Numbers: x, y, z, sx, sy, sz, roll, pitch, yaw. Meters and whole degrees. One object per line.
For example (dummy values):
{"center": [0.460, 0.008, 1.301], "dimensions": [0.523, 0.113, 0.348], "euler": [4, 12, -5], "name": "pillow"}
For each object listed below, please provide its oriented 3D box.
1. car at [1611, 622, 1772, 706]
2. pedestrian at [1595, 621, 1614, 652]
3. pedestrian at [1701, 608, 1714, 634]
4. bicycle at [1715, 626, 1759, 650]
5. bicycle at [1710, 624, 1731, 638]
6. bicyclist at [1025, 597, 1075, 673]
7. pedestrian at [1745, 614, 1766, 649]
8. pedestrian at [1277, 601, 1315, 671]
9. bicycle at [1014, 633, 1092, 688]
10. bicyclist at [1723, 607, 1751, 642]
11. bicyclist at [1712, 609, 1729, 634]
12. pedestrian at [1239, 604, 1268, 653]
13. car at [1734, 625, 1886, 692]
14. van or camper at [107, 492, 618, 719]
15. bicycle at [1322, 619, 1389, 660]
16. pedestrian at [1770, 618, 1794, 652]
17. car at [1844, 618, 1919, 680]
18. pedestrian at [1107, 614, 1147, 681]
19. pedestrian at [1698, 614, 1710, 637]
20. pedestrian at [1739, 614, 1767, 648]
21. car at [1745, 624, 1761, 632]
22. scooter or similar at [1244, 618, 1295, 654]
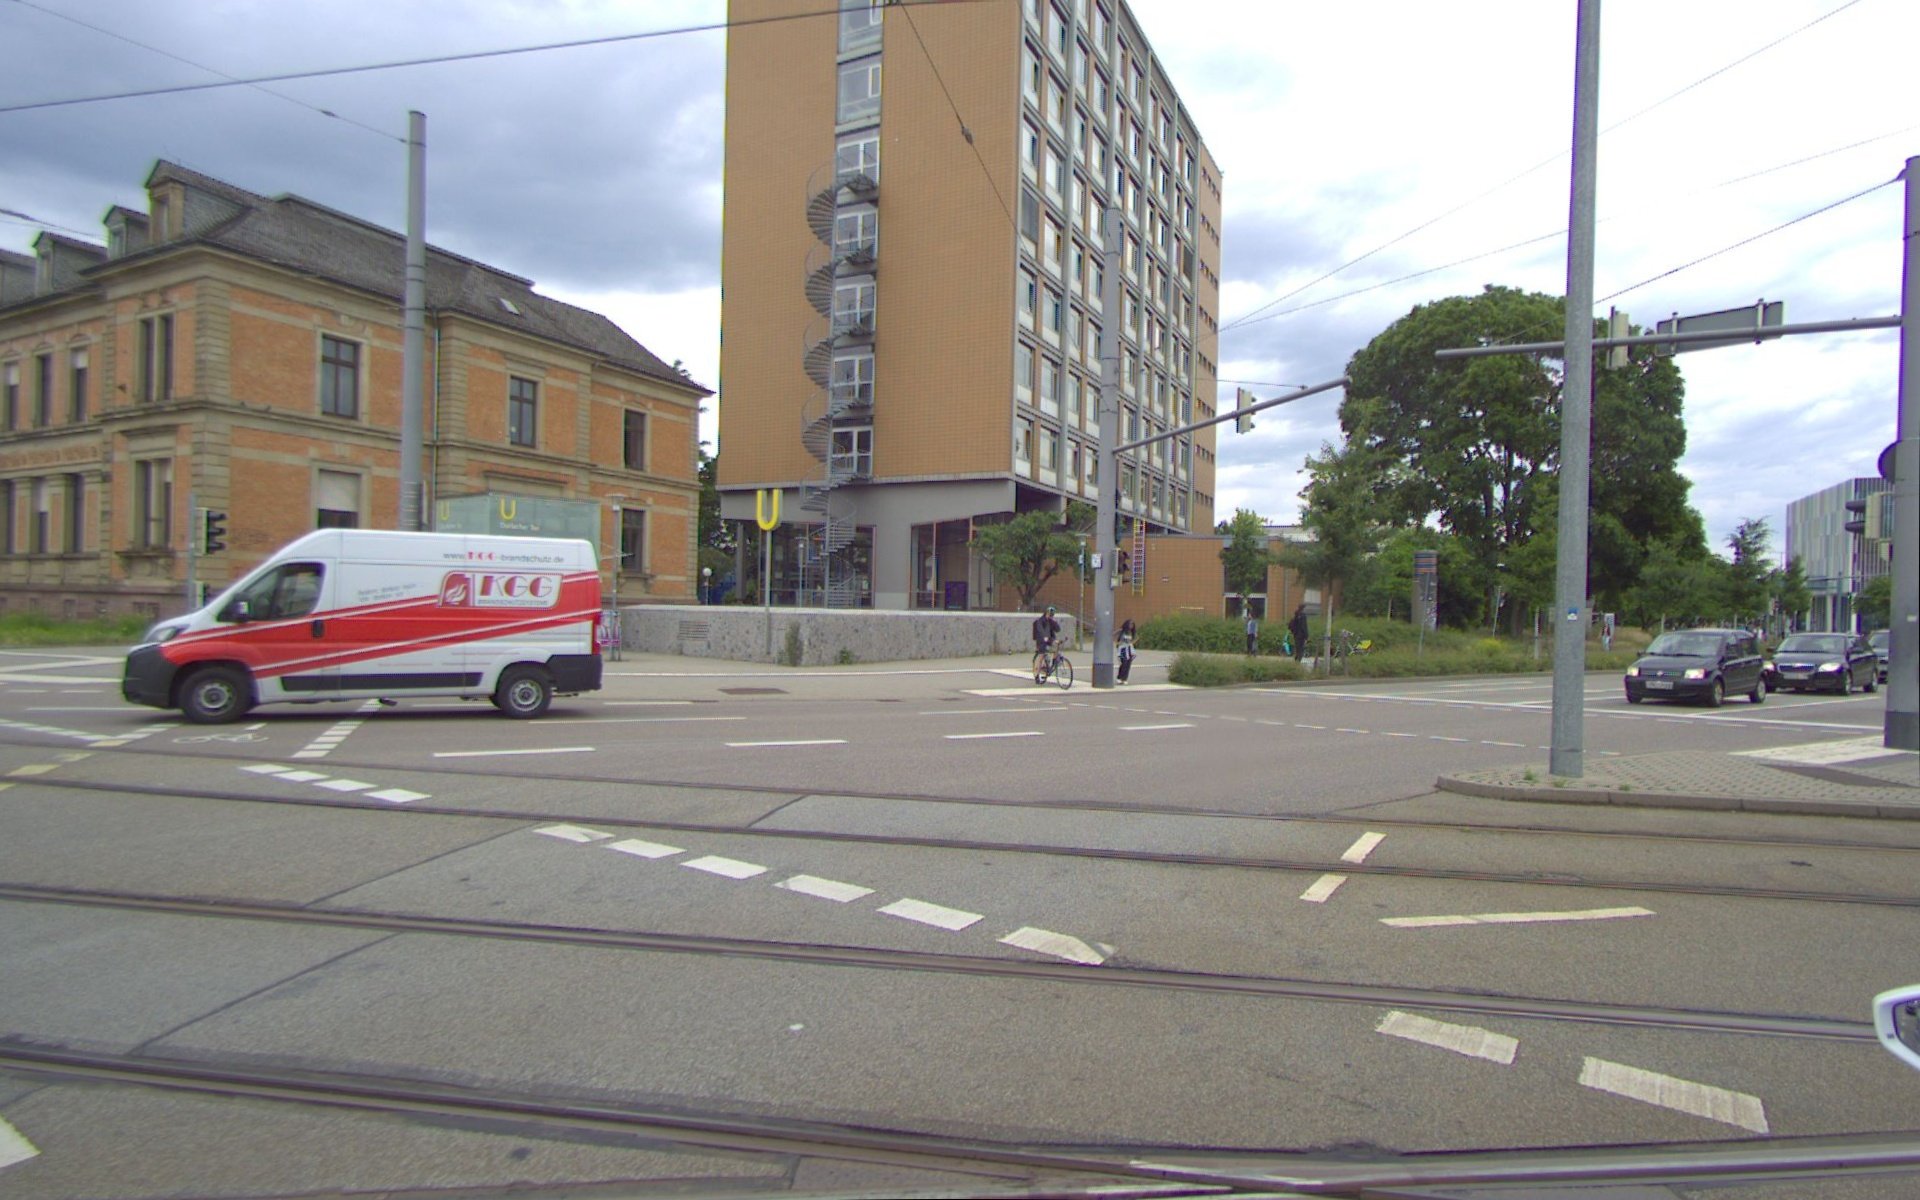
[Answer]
{"center": [14.946, 1.261, 20.476], "dimensions": [3.629, 1.535, 1.607], "euler": [2, -1, -36], "name": "car"}
{"center": [32.786, 1.855, 51.093], "dimensions": [0.749, 1.562, 0.556], "euler": [2, 0, -40], "name": "pedestrian"}
{"center": [59.109, 1.680, 79.413], "dimensions": [0.746, 2.040, 1.041], "euler": [1, 0, 41], "name": "pedestrian"}
{"center": [41.575, 2.021, 53.726], "dimensions": [1.872, 1.174, 0.790], "euler": [2, 0, -10], "name": "bicycle"}
{"center": [49.216, 2.007, 65.007], "dimensions": [1.869, 0.894, 0.708], "euler": [2, 0, -41], "name": "bicycle"}
{"center": [2.076, 0.807, 23.216], "dimensions": [0.784, 1.679, 0.809], "euler": [2, 2, -27], "name": "bicyclist"}
{"center": [43.461, 1.720, 54.878], "dimensions": [0.760, 1.867, 0.751], "euler": [1, 0, -39], "name": "pedestrian"}
{"center": [9.839, 1.051, 29.427], "dimensions": [0.651, 2.007, 0.815], "euler": [1, 0, -31], "name": "pedestrian"}
{"center": [2.107, 1.359, 23.095], "dimensions": [0.785, 1.042, 2.105], "euler": [1, 2, -27], "name": "bicycle"}
{"center": [41.544, 1.309, 53.717], "dimensions": [0.819, 1.869, 0.791], "euler": [2, 0, -10], "name": "bicyclist"}
{"center": [49.211, 1.369, 64.998], "dimensions": [0.706, 1.591, 0.708], "euler": [1, 0, -41], "name": "bicyclist"}
{"center": [10.737, 1.051, 36.792], "dimensions": [0.678, 1.757, 0.743], "euler": [1, 0, -31], "name": "pedestrian"}
{"center": [21.044, 1.419, 24.816], "dimensions": [4.436, 1.528, 1.858], "euler": [2, -3, -36], "name": "car"}
{"center": [-7.768, 0.148, 13.710], "dimensions": [5.509, 2.561, 2.268], "euler": [2, -1, -31], "name": "van or camper"}
{"center": [14.869, 1.487, 37.801], "dimensions": [2.215, 1.468, 0.847], "euler": [2, 0, -12], "name": "bicycle"}
{"center": [46.247, 1.976, 56.518], "dimensions": [0.662, 1.867, 0.886], "euler": [2, 0, -39], "name": "pedestrian"}
{"center": [28.933, 1.493, 30.845], "dimensions": [4.670, 1.748, 1.856], "euler": [2, -1, -38], "name": "car"}
{"center": [4.015, 1.137, 24.158], "dimensions": [0.741, 1.572, 0.575], "euler": [1, 0, -32], "name": "pedestrian"}
{"center": [69.223, 2.376, 93.445], "dimensions": [0.746, 2.040, 1.042], "euler": [2, 0, 41], "name": "pedestrian"}
{"center": [44.198, 1.712, 55.991], "dimensions": [0.859, 1.867, 1.040], "euler": [2, 0, -39], "name": "pedestrian"}
{"center": [132.729, 4.685, 168.159], "dimensions": [1.686, 1.282, 3.334], "euler": [1, 0, 29], "name": "car"}
{"center": [11.865, 1.373, 38.486], "dimensions": [1.750, 1.320, 0.627], "euler": [1, 0, 42], "name": "scooter or similar"}
